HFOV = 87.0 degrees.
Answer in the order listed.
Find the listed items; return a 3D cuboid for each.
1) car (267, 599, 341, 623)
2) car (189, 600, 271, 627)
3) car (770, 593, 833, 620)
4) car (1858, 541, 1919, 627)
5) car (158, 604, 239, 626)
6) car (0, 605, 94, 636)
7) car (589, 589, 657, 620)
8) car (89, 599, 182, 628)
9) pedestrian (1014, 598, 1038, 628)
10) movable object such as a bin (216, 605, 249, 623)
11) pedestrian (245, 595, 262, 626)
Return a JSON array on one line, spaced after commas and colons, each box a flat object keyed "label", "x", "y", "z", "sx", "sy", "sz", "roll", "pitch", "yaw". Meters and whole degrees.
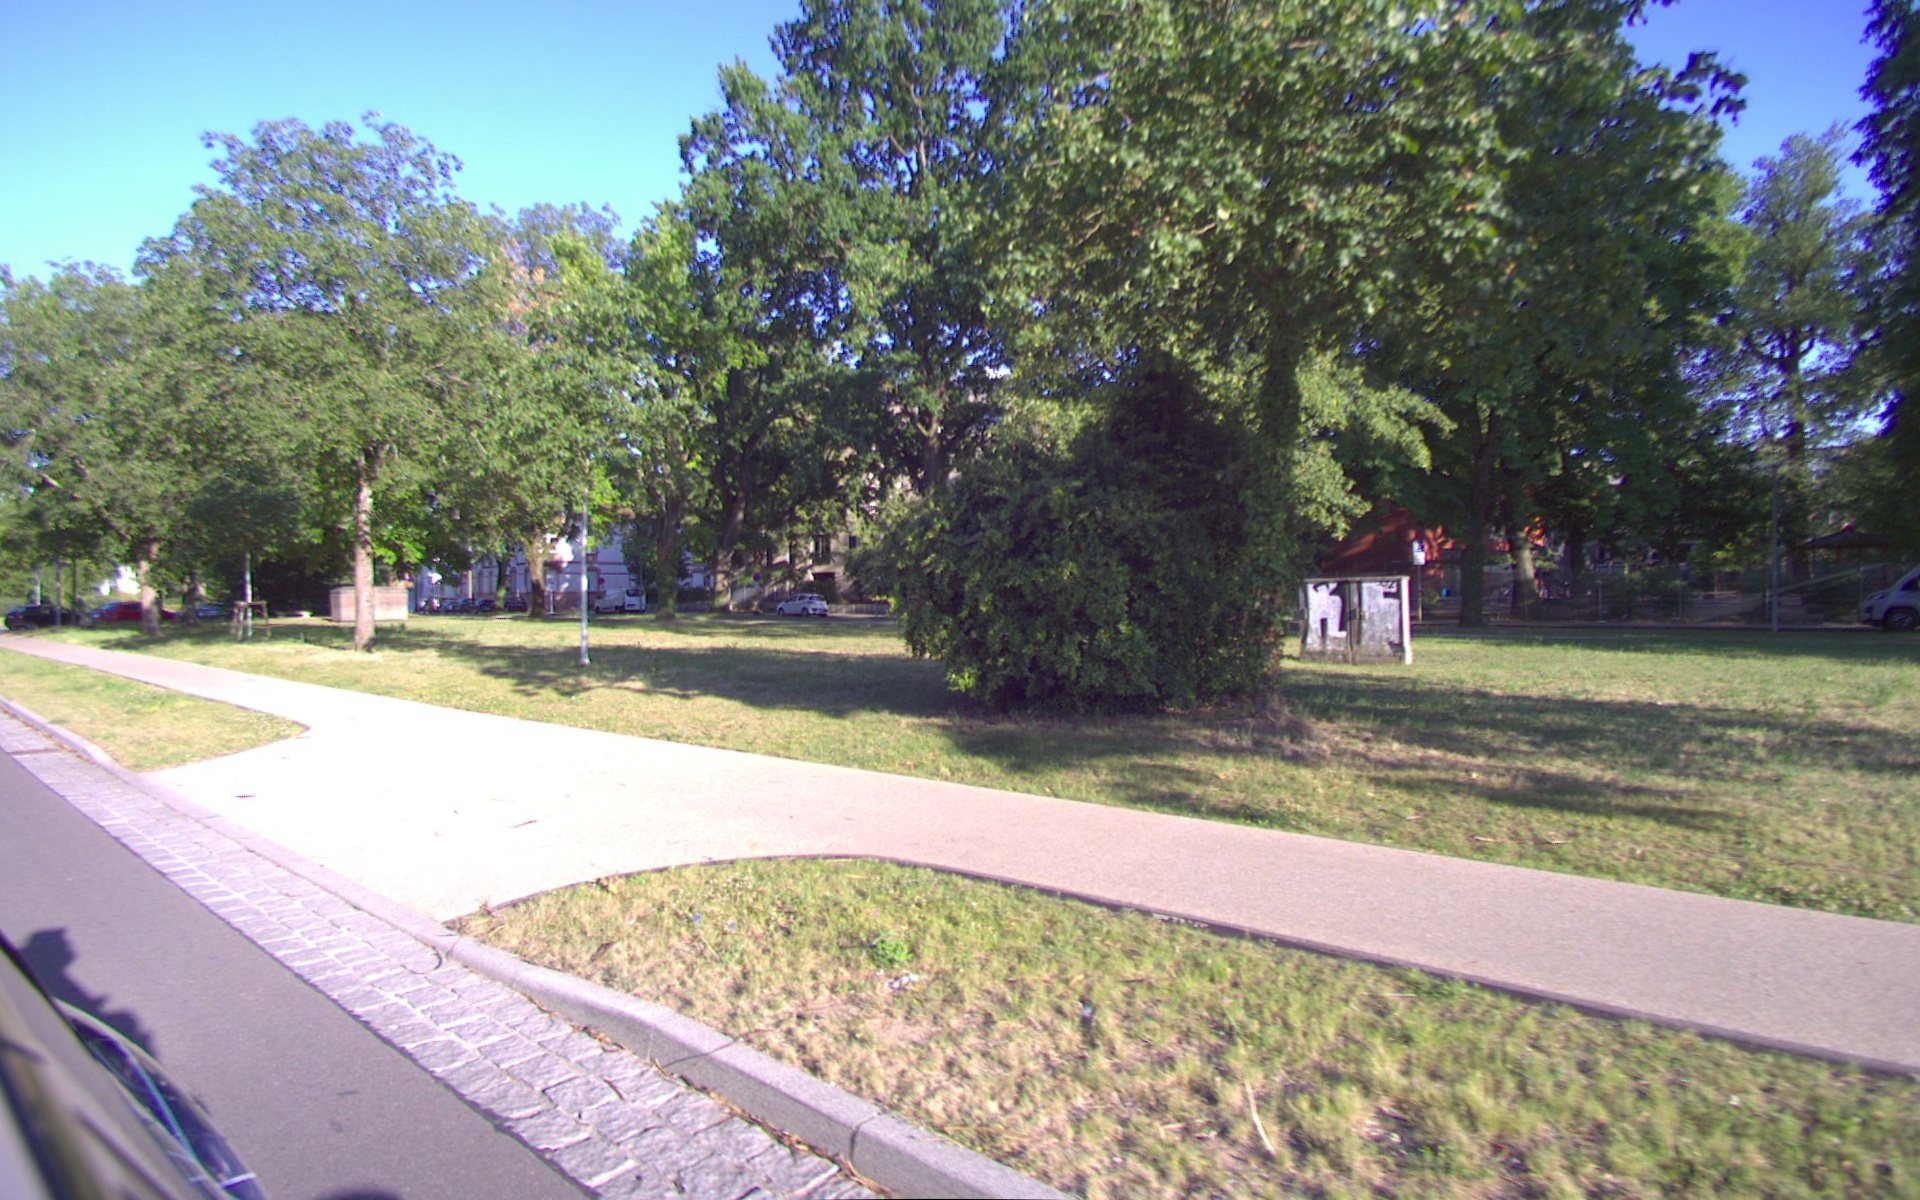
[{"label": "car", "x": -45.710, "y": 0.737, "z": 70.596, "sx": 1.877, "sy": 1.586, "sz": 3.972, "roll": 1, "pitch": 1, "yaw": 21}, {"label": "car", "x": -47.517, "y": 0.835, "z": 65.933, "sx": 1.877, "sy": 1.586, "sz": 3.973, "roll": 1, "pitch": 1, "yaw": 20}, {"label": "car", "x": -10.001, "y": 0.403, "z": 63.803, "sx": 3.737, "sy": 1.630, "sz": 1.973, "roll": 0, "pitch": 1, "yaw": 42}, {"label": "car", "x": 29.820, "y": -0.455, "z": 28.773, "sx": 6.314, "sy": 2.482, "sz": 2.693, "roll": 0, "pitch": 0, "yaw": 40}, {"label": "car", "x": -52.500, "y": 1.028, "z": 69.860, "sx": 1.825, "sy": 1.411, "sz": 4.250, "roll": 0, "pitch": 0, "yaw": 19}, {"label": "car", "x": -51.039, "y": 1.106, "z": 56.290, "sx": 1.874, "sy": 1.586, "sz": 3.979, "roll": 1, "pitch": 1, "yaw": 16}, {"label": "car", "x": -24.342, "y": 0.293, "z": 73.006, "sx": 4.972, "sy": 2.129, "sz": 2.639, "roll": 0, "pitch": 1, "yaw": 45}, {"label": "car", "x": -49.411, "y": 0.798, "z": 60.753, "sx": 1.874, "sy": 1.586, "sz": 3.979, "roll": 1, "pitch": 1, "yaw": 16}, {"label": "pedestrian", "x": 2.231, "y": 0.425, "z": 34.296, "sx": 0.541, "sy": 0.994, "sz": 0.611, "roll": 0, "pitch": 0, "yaw": -38}, {"label": "movable object such as a bin", "x": -40.419, "y": 0.775, "z": 56.209, "sx": 0.949, "sy": 0.997, "sz": 1.315, "roll": 0, "pitch": 0, "yaw": 41}, {"label": "pedestrian", "x": -39.742, "y": 0.564, "z": 56.925, "sx": 0.672, "sy": 1.708, "sz": 0.655, "roll": -1, "pitch": 1, "yaw": 43}]
